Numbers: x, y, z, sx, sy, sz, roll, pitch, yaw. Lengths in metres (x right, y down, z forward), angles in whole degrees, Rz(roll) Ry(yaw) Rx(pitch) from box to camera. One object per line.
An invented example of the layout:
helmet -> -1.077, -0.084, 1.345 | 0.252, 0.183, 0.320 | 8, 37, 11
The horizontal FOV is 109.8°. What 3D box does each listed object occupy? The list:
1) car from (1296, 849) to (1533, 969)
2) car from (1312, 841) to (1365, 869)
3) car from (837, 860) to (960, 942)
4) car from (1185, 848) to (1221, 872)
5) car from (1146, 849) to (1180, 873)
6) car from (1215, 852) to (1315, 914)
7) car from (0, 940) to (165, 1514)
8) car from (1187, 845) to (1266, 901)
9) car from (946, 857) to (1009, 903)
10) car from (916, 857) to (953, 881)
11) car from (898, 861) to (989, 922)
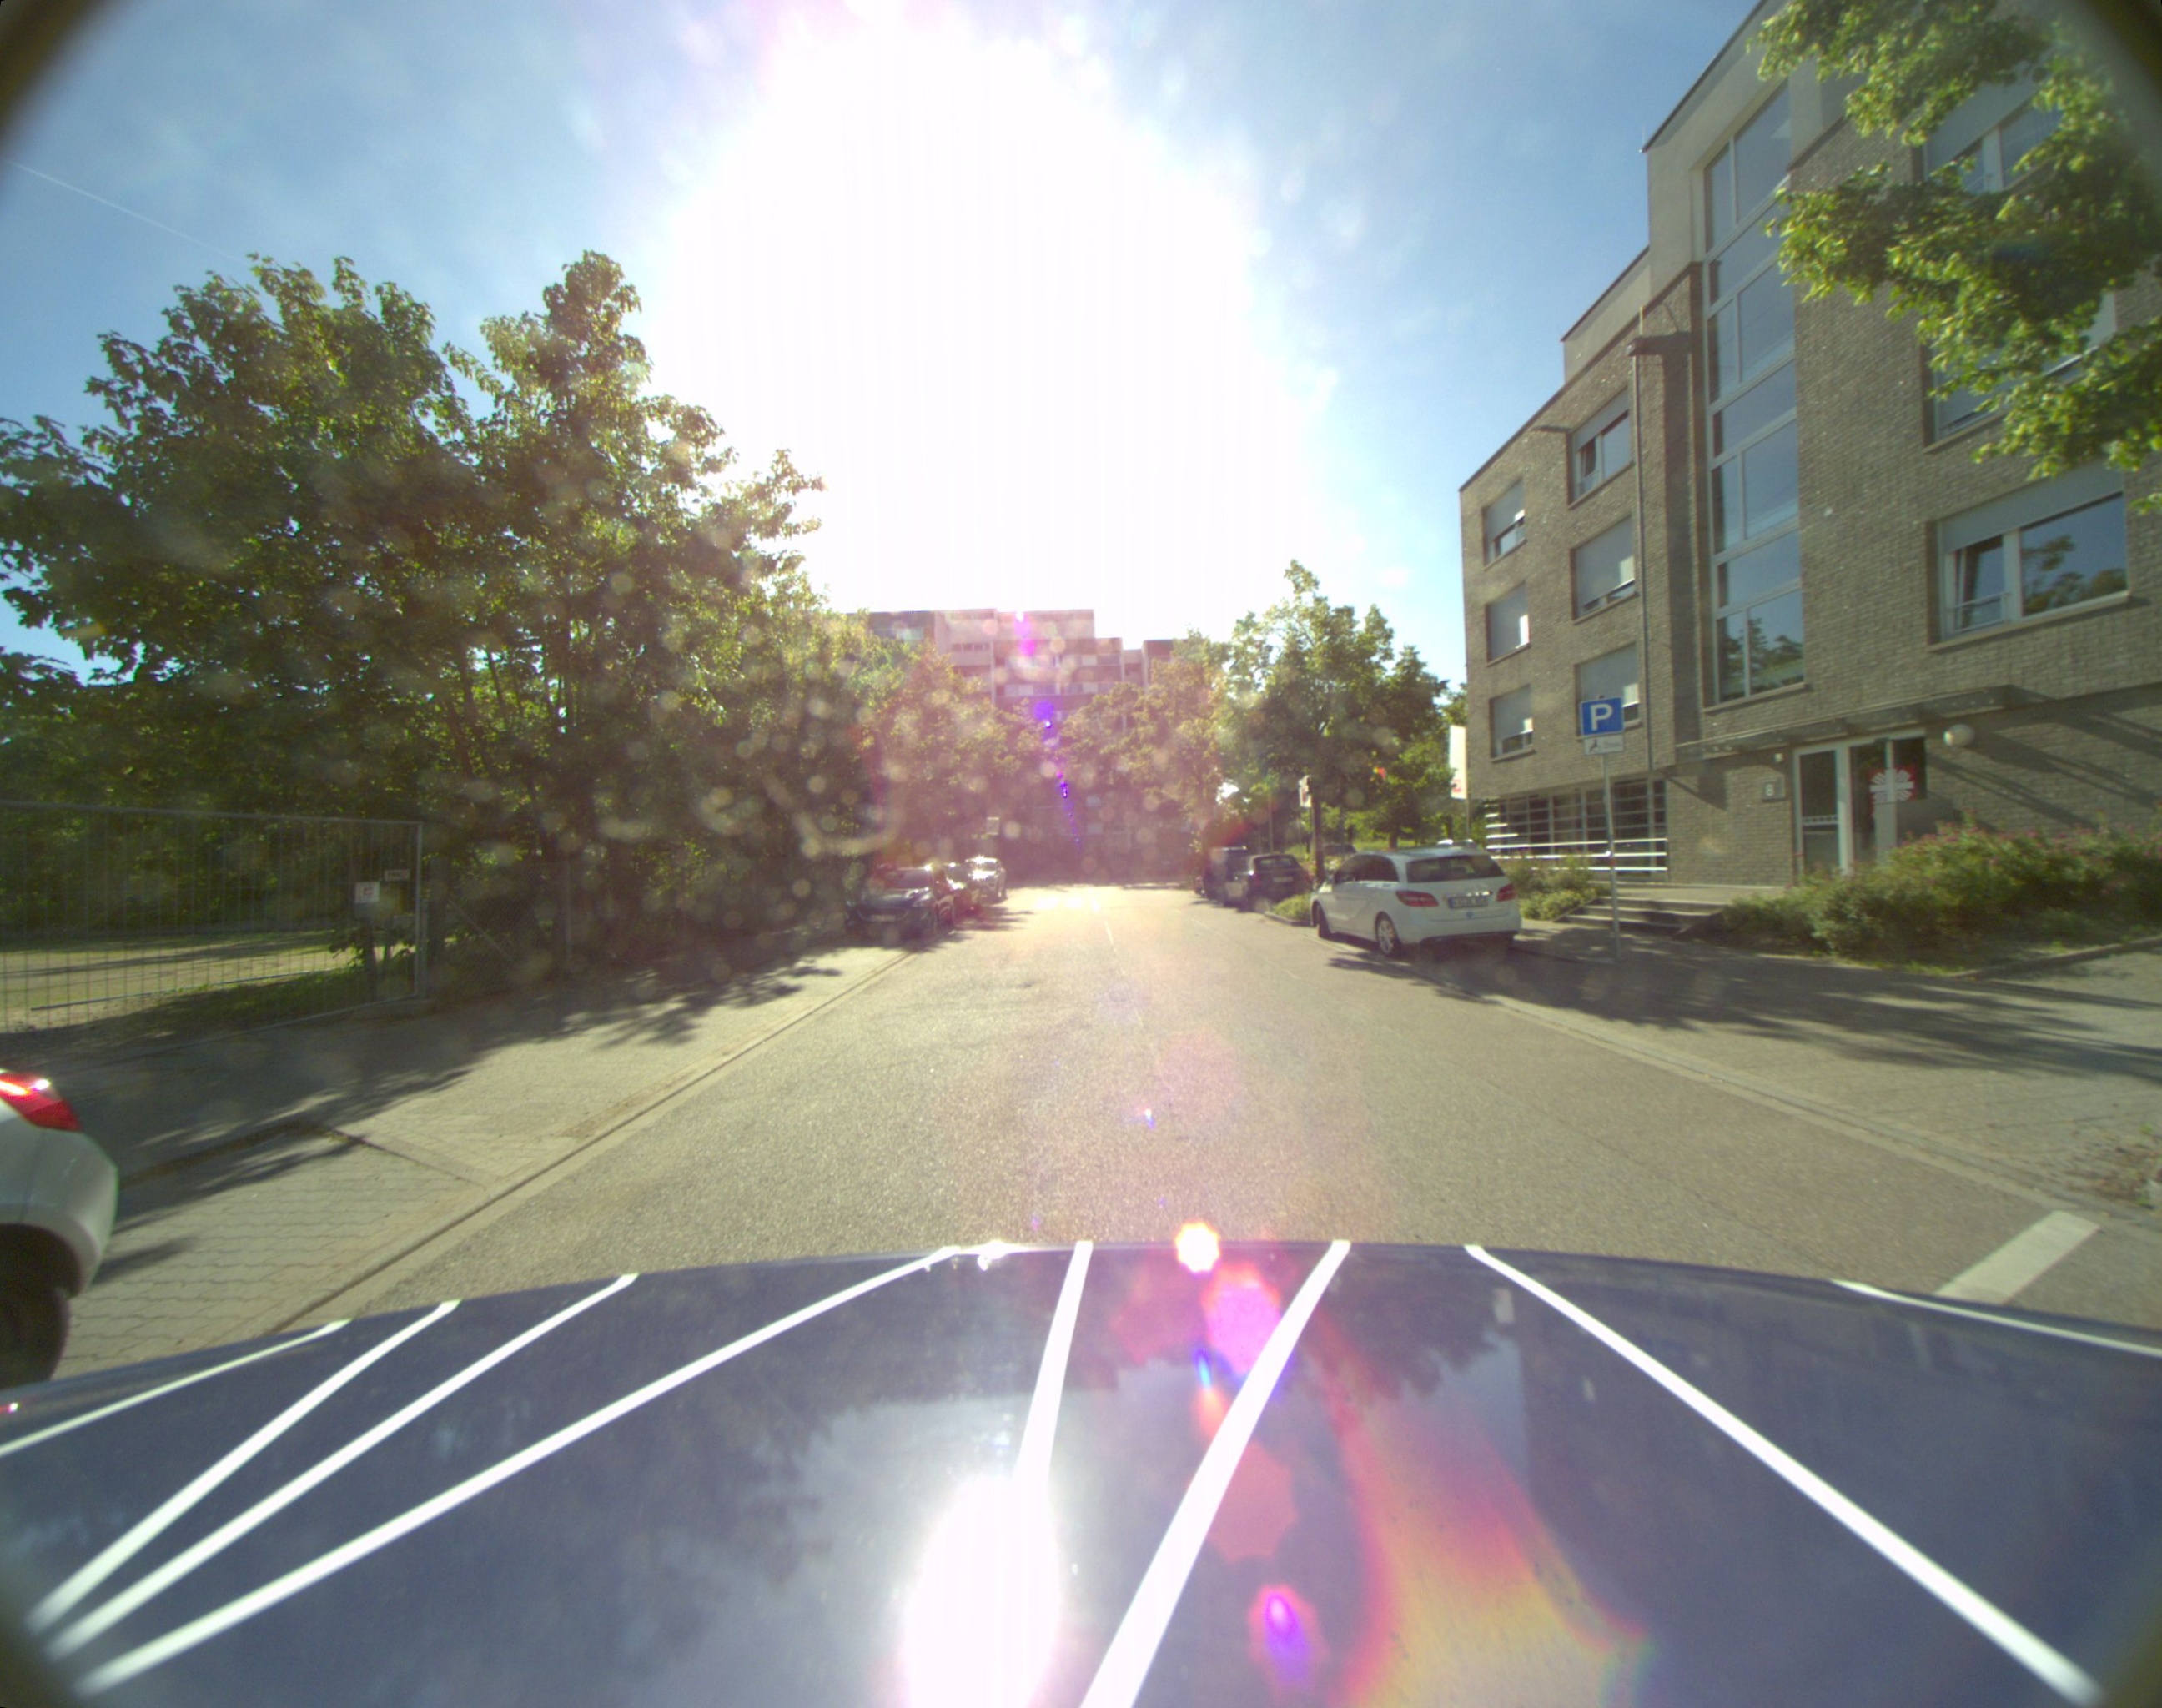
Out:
car -> 5.027, 0.735, 12.186 | 1.664, 1.523, 4.286 | -2, 0, -4
car -> 17.535, 0.006, 51.957 | 1.998, 1.769, 4.601 | -2, 1, 0
car -> -3.820, 0.911, 16.671 | 1.680, 1.429, 4.438 | -2, 0, -1
car -> 8.365, 0.399, 52.308 | 1.821, 1.379, 3.998 | -2, 2, 0
car -> 5.589, 0.440, 52.334 | 1.700, 1.490, 3.819 | -2, 2, -3
car -> 4.929, 0.721, 20.825 | 1.582, 1.495, 3.789 | -2, 0, -3
car -> -3.767, 1.013, 0.409 | 1.667, 1.504, 4.001 | -2, -1, 0
car -> 4.938, 0.570, 26.372 | 1.891, 1.610, 4.338 | -5, 1, 1
car -> -3.783, 0.902, 28.316 | 1.623, 1.442, 4.090 | -2, 1, 1
car -> -10.041, 0.998, 52.444 | 1.716, 1.443, 3.999 | -2, 1, 0
car -> -3.813, 0.989, 21.765 | 1.829, 1.463, 4.068 | -2, 1, 0
